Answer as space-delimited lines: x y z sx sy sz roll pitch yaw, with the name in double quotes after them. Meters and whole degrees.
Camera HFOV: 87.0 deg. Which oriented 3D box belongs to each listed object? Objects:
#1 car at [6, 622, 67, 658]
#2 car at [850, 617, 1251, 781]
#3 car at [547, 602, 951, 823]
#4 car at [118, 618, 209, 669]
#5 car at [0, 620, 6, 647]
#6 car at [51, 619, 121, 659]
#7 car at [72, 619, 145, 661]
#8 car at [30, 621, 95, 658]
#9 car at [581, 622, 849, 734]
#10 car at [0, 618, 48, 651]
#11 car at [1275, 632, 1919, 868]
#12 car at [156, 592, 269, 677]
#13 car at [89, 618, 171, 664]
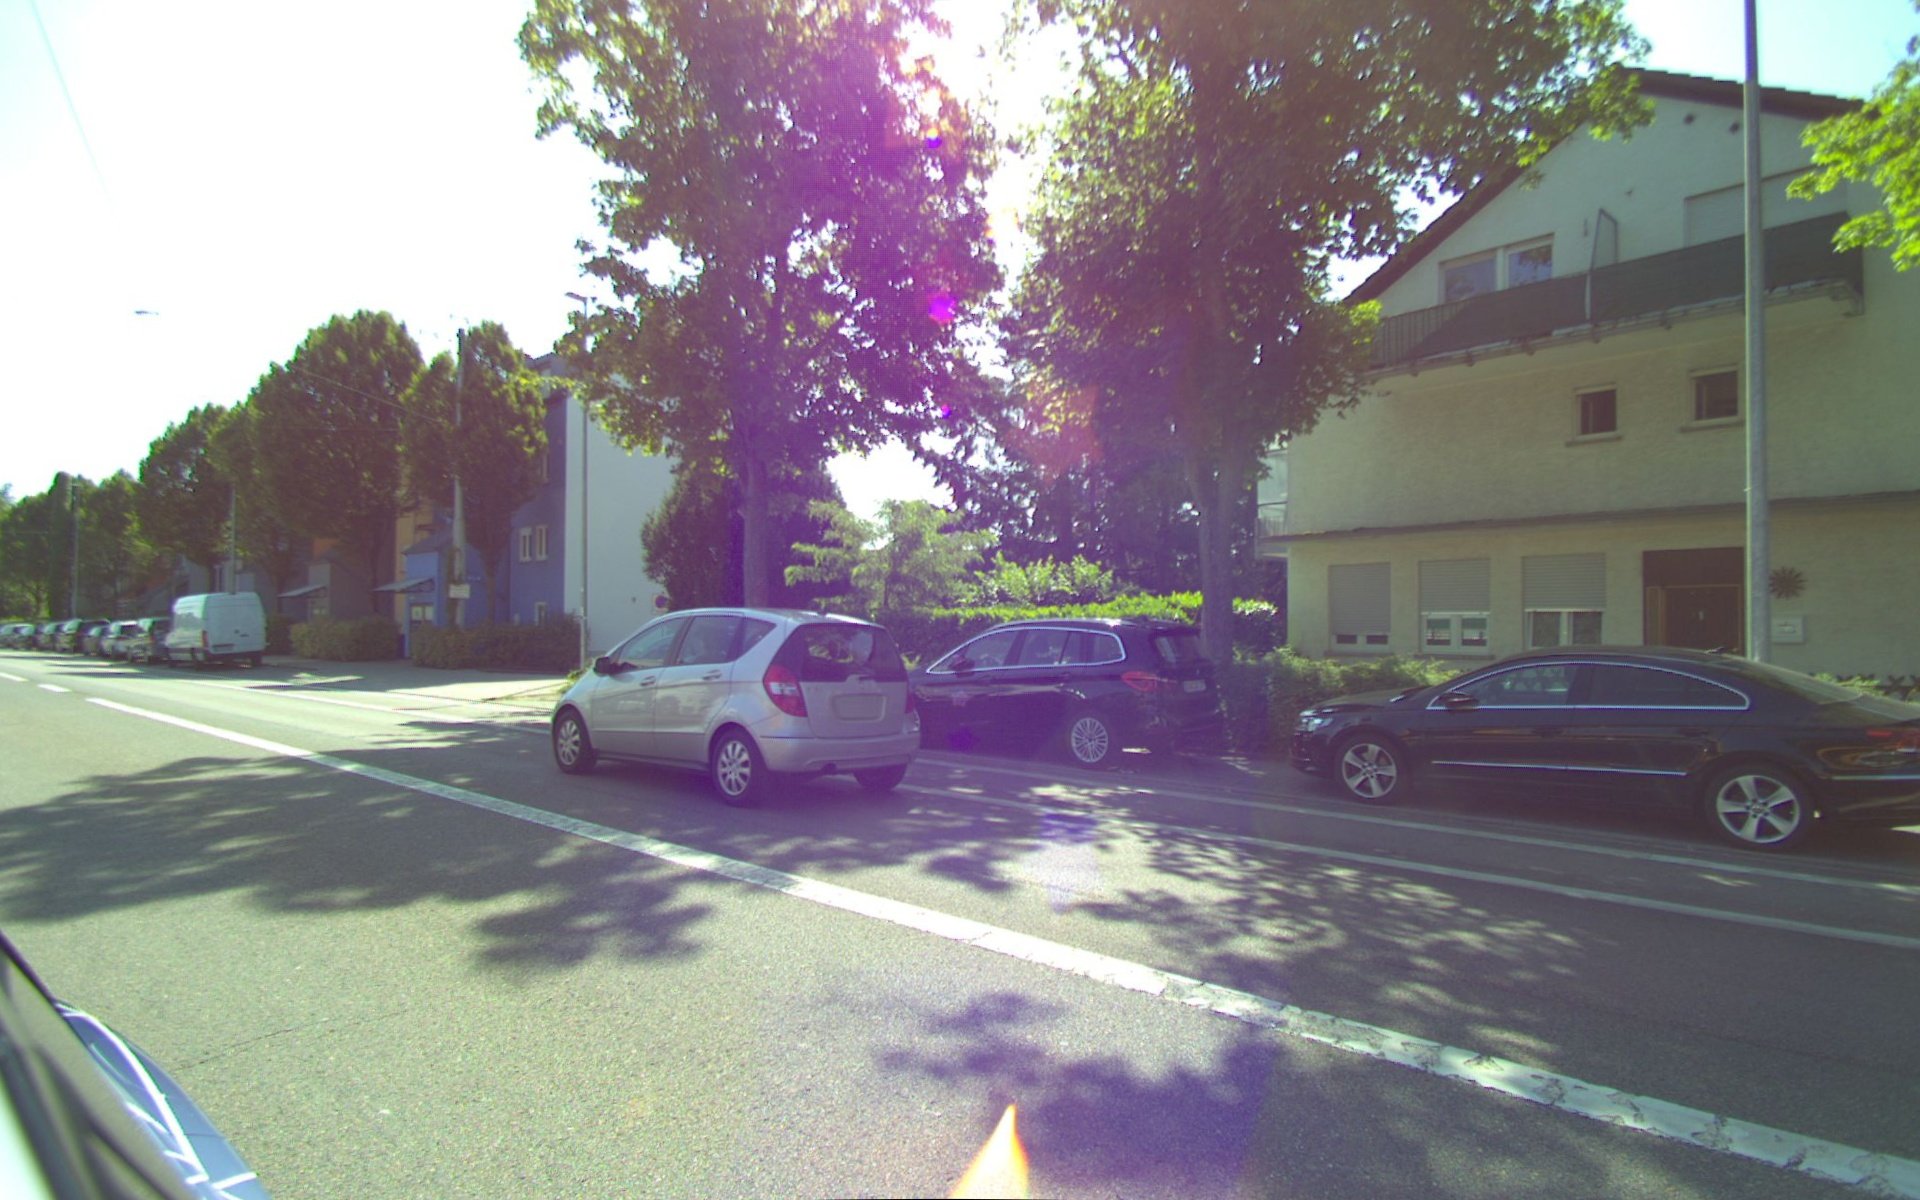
-54.894 2.352 60.134 4.766 1.818 1.974 -2 4 41 "car"
0.934 1.035 12.264 4.619 1.583 1.844 -1 0 41 "car"
-1.976 0.869 9.005 3.577 1.565 1.658 -1 -4 41 "car"
-33.460 1.794 42.474 4.766 1.818 1.974 -2 4 41 "car"
-68.767 2.463 71.062 4.766 1.818 1.974 -2 4 41 "car"
-45.848 2.019 53.055 4.766 1.818 1.974 -2 4 41 "car"
-42.119 1.940 50.020 4.254 1.818 1.974 -2 4 41 "car"
-50.271 2.176 56.648 4.766 1.818 1.974 -2 4 41 "car"
-4.097 1.155 16.511 4.616 1.583 1.845 -1 -2 39 "car"
-59.993 2.182 64.554 4.766 1.818 1.974 -2 4 41 "car"
5.224 1.015 8.418 4.619 1.426 1.844 -1 0 41 "car"
-27.374 1.228 36.970 6.213 2.713 1.973 -1 4 43 "car"
-38.052 1.859 46.343 4.766 1.818 1.974 -2 4 41 "car"
